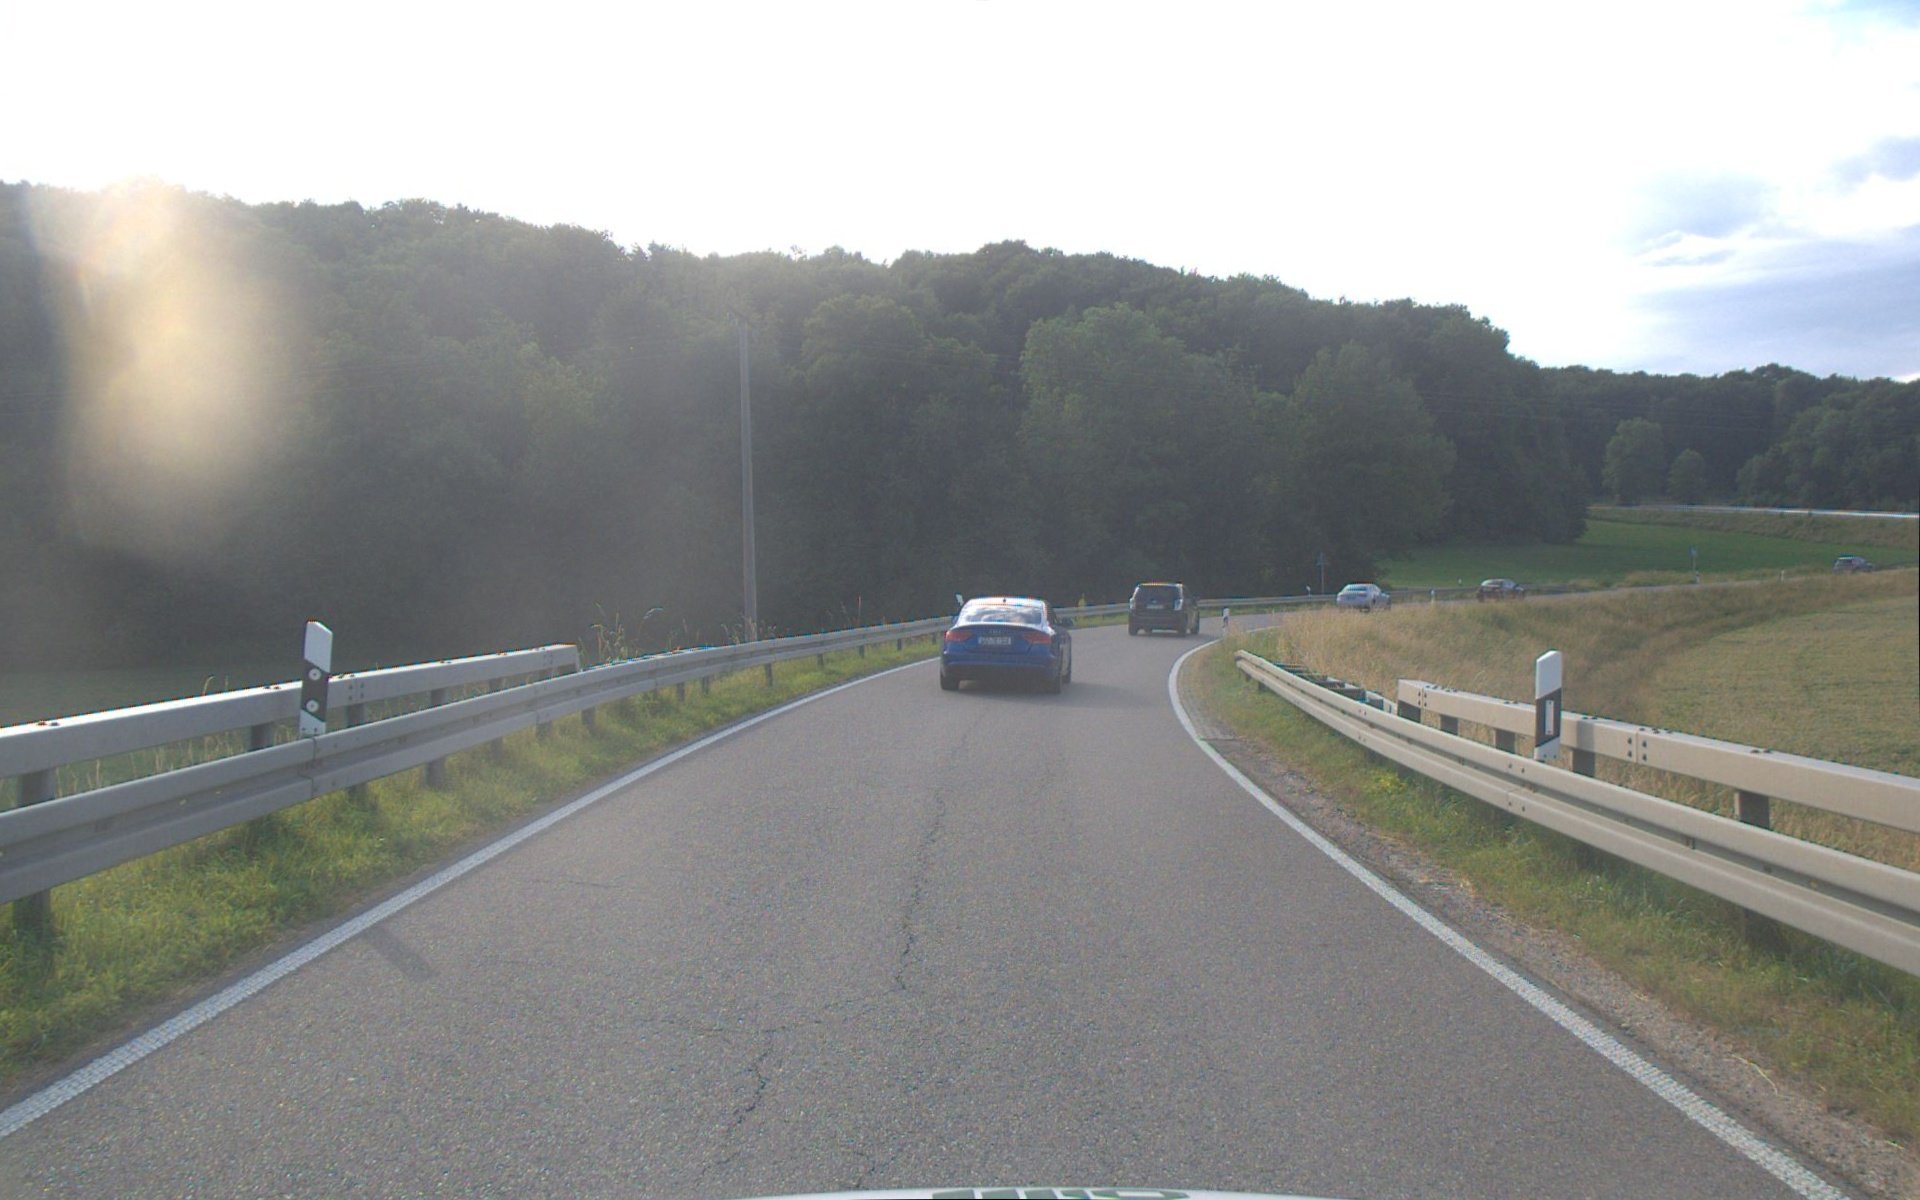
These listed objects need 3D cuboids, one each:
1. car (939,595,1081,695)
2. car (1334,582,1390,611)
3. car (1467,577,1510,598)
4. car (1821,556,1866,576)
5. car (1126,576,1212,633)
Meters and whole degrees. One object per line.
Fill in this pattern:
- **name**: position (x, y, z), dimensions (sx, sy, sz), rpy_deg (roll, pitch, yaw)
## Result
- **car**: position (0.864, 0.632, 25.578), dimensions (1.780, 1.362, 4.353), rpy_deg (1, 0, 7)
- **car**: position (20.718, -0.211, 85.118), dimensions (1.651, 1.400, 3.991), rpy_deg (-1, 0, 31)
- **car**: position (33.279, -0.790, 104.077), dimensions (1.448, 1.249, 3.283), rpy_deg (-2, -1, 39)
- **car**: position (77.862, -2.995, 145.756), dimensions (4.131, 1.708, 1.975), rpy_deg (1, 1, -36)
- **car**: position (6.578, 0.121, 51.722), dimensions (1.823, 1.596, 4.001), rpy_deg (4, 1, 19)
